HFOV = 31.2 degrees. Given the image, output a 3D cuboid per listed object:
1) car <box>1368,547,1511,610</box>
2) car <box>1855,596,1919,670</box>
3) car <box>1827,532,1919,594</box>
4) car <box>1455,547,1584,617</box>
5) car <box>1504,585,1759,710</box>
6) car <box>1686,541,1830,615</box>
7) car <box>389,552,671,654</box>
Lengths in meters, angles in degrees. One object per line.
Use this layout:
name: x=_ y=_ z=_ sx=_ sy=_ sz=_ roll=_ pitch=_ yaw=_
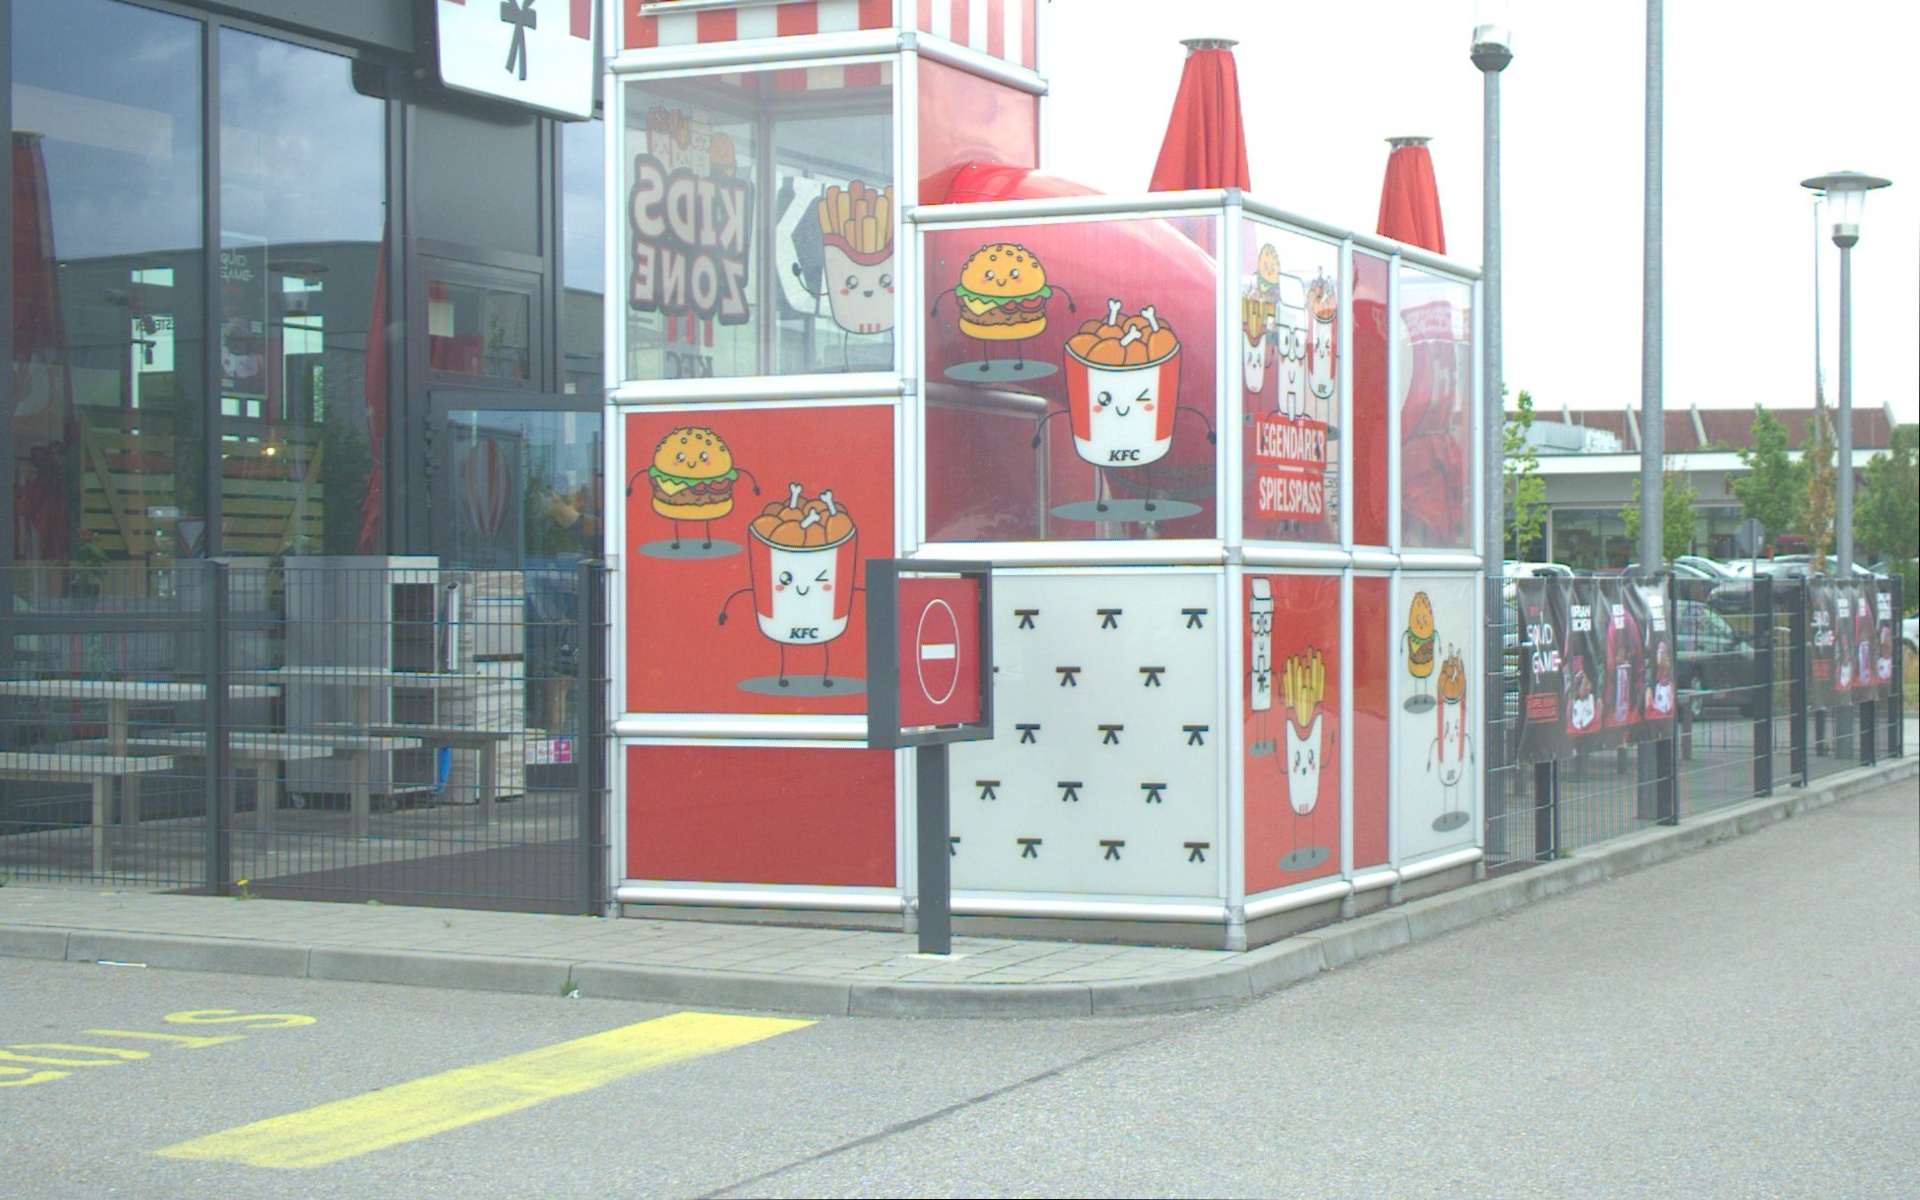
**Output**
car: x=14.072 y=-0.656 z=101.101 sx=1.994 sy=1.765 sz=4.000 roll=-2 pitch=2 yaw=-34
car: x=19.192 y=0.634 z=66.358 sx=3.454 sy=1.366 sz=1.430 roll=0 pitch=2 yaw=30
car: x=28.088 y=-1.100 z=101.895 sx=4.313 sy=1.765 sz=1.997 roll=0 pitch=2 yaw=27
car: x=15.298 y=-0.503 z=93.806 sx=1.997 sy=1.765 sz=4.314 roll=0 pitch=2 yaw=31
car: x=8.124 y=0.580 z=41.333 sx=1.885 sy=1.407 sz=4.064 roll=1 pitch=-1 yaw=28
car: x=20.654 y=-0.594 z=88.850 sx=1.929 sy=1.765 sz=4.311 roll=0 pitch=2 yaw=39
car: x=-6.368 y=0.061 z=51.206 sx=1.838 sy=1.407 sz=3.930 roll=0 pitch=-1 yaw=40
